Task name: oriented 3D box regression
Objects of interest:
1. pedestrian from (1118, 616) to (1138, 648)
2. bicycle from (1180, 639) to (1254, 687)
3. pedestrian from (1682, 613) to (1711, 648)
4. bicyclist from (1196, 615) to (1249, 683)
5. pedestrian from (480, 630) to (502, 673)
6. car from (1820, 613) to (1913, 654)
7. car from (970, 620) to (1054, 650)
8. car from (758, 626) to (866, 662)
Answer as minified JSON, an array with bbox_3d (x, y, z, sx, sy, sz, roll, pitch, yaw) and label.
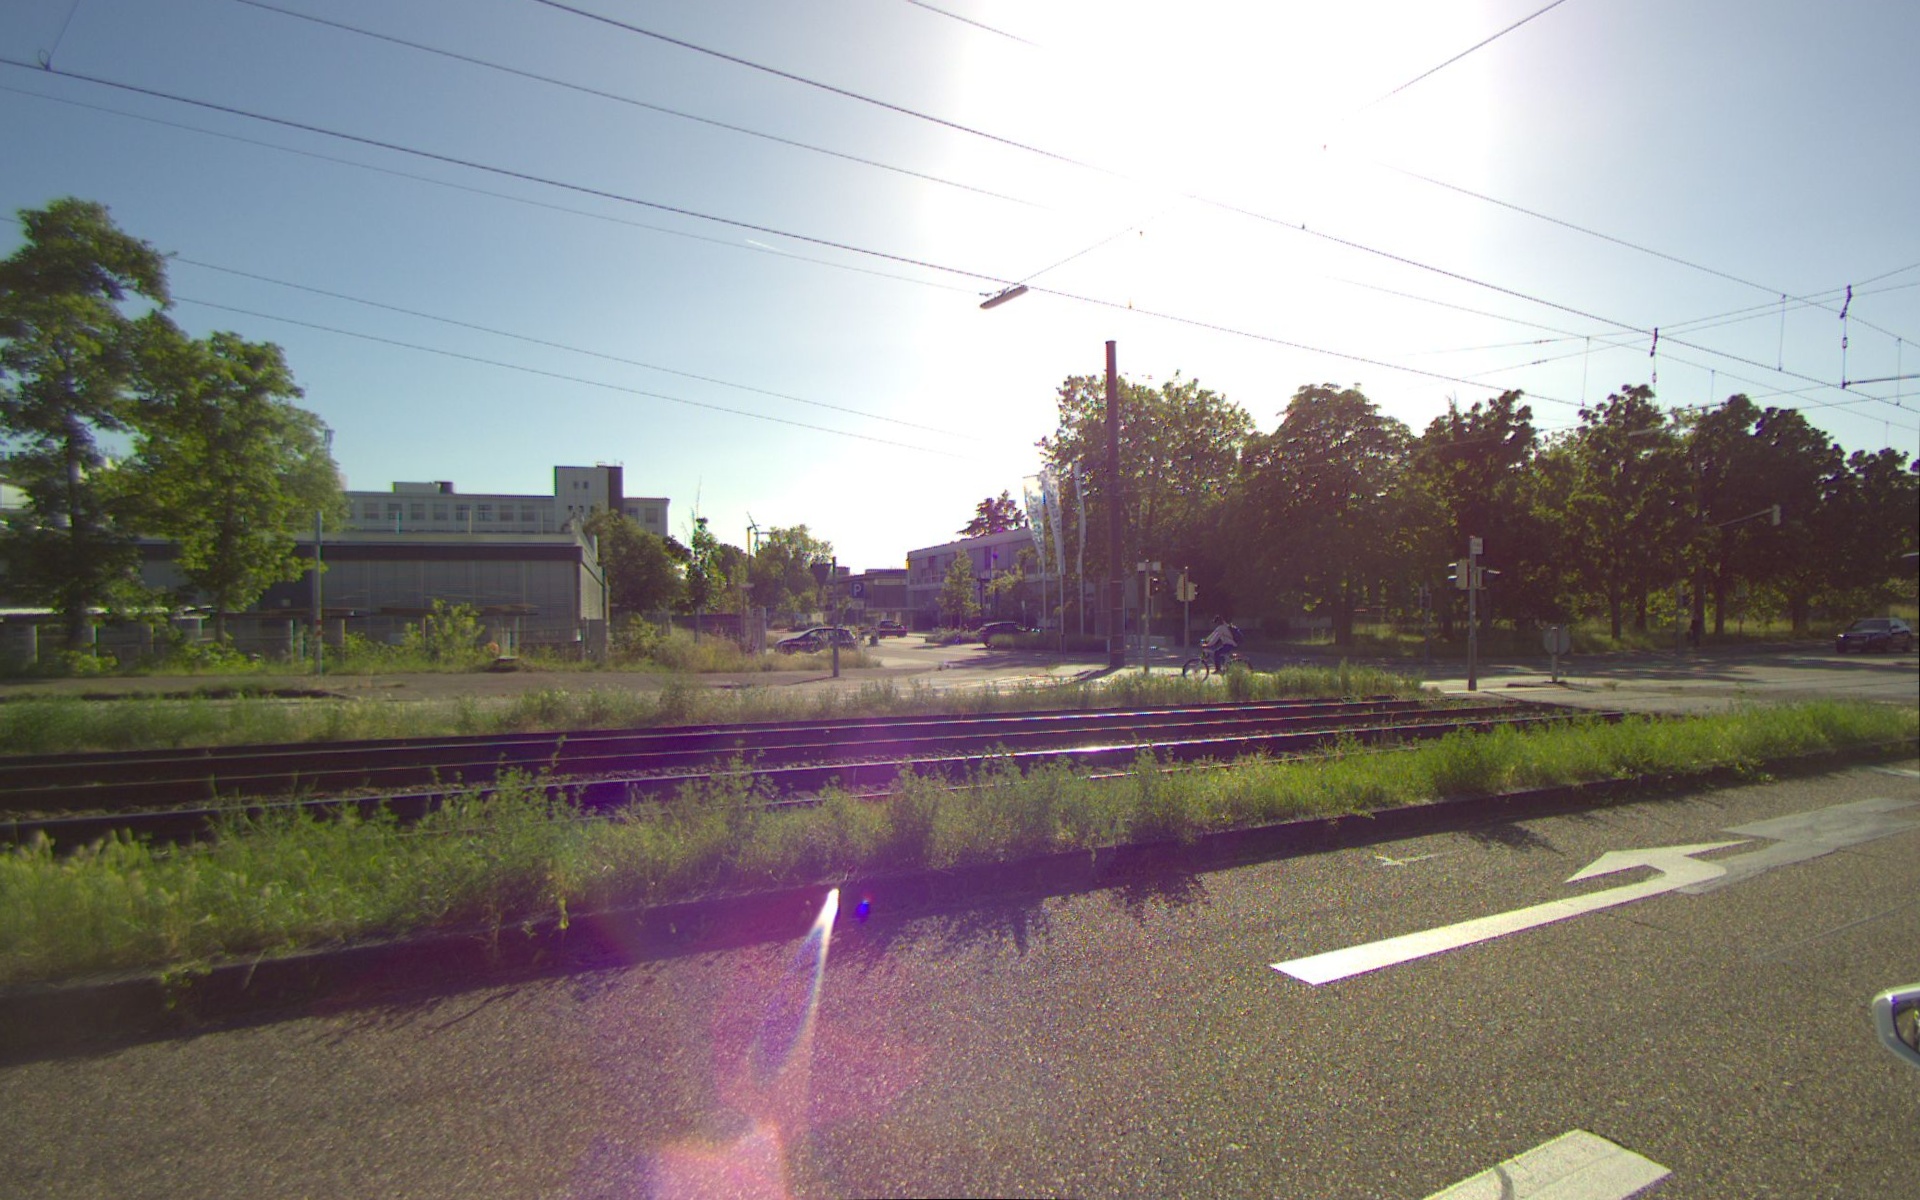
[{"bbox_3d":[9.516,1.794,56.866,0.807,1.811,0.950,0,0,-16],"label":"pedestrian"},{"bbox_3d":[6.344,1.543,24.840,1.745,1.117,0.699,1,0,13],"label":"bicycle"},{"bbox_3d":[38.307,1.579,52.269,0.919,1.757,0.761,0,0,-2],"label":"pedestrian"},{"bbox_3d":[6.472,1.187,24.803,1.211,1.614,0.805,1,0,13],"label":"bicyclist"},{"bbox_3d":[-14.691,1.607,31.474,0.432,1.318,0.441,0,0,18],"label":"pedestrian"},{"bbox_3d":[43.338,1.583,48.004,4.739,1.834,2.082,0,-2,-32],"label":"car"},{"bbox_3d":[3.211,2.138,61.721,4.768,1.751,2.041,1,0,-21],"label":"car"},{"bbox_3d":[-7.668,2.258,51.926,5.210,1.772,2.164,1,0,-19],"label":"car"}]
